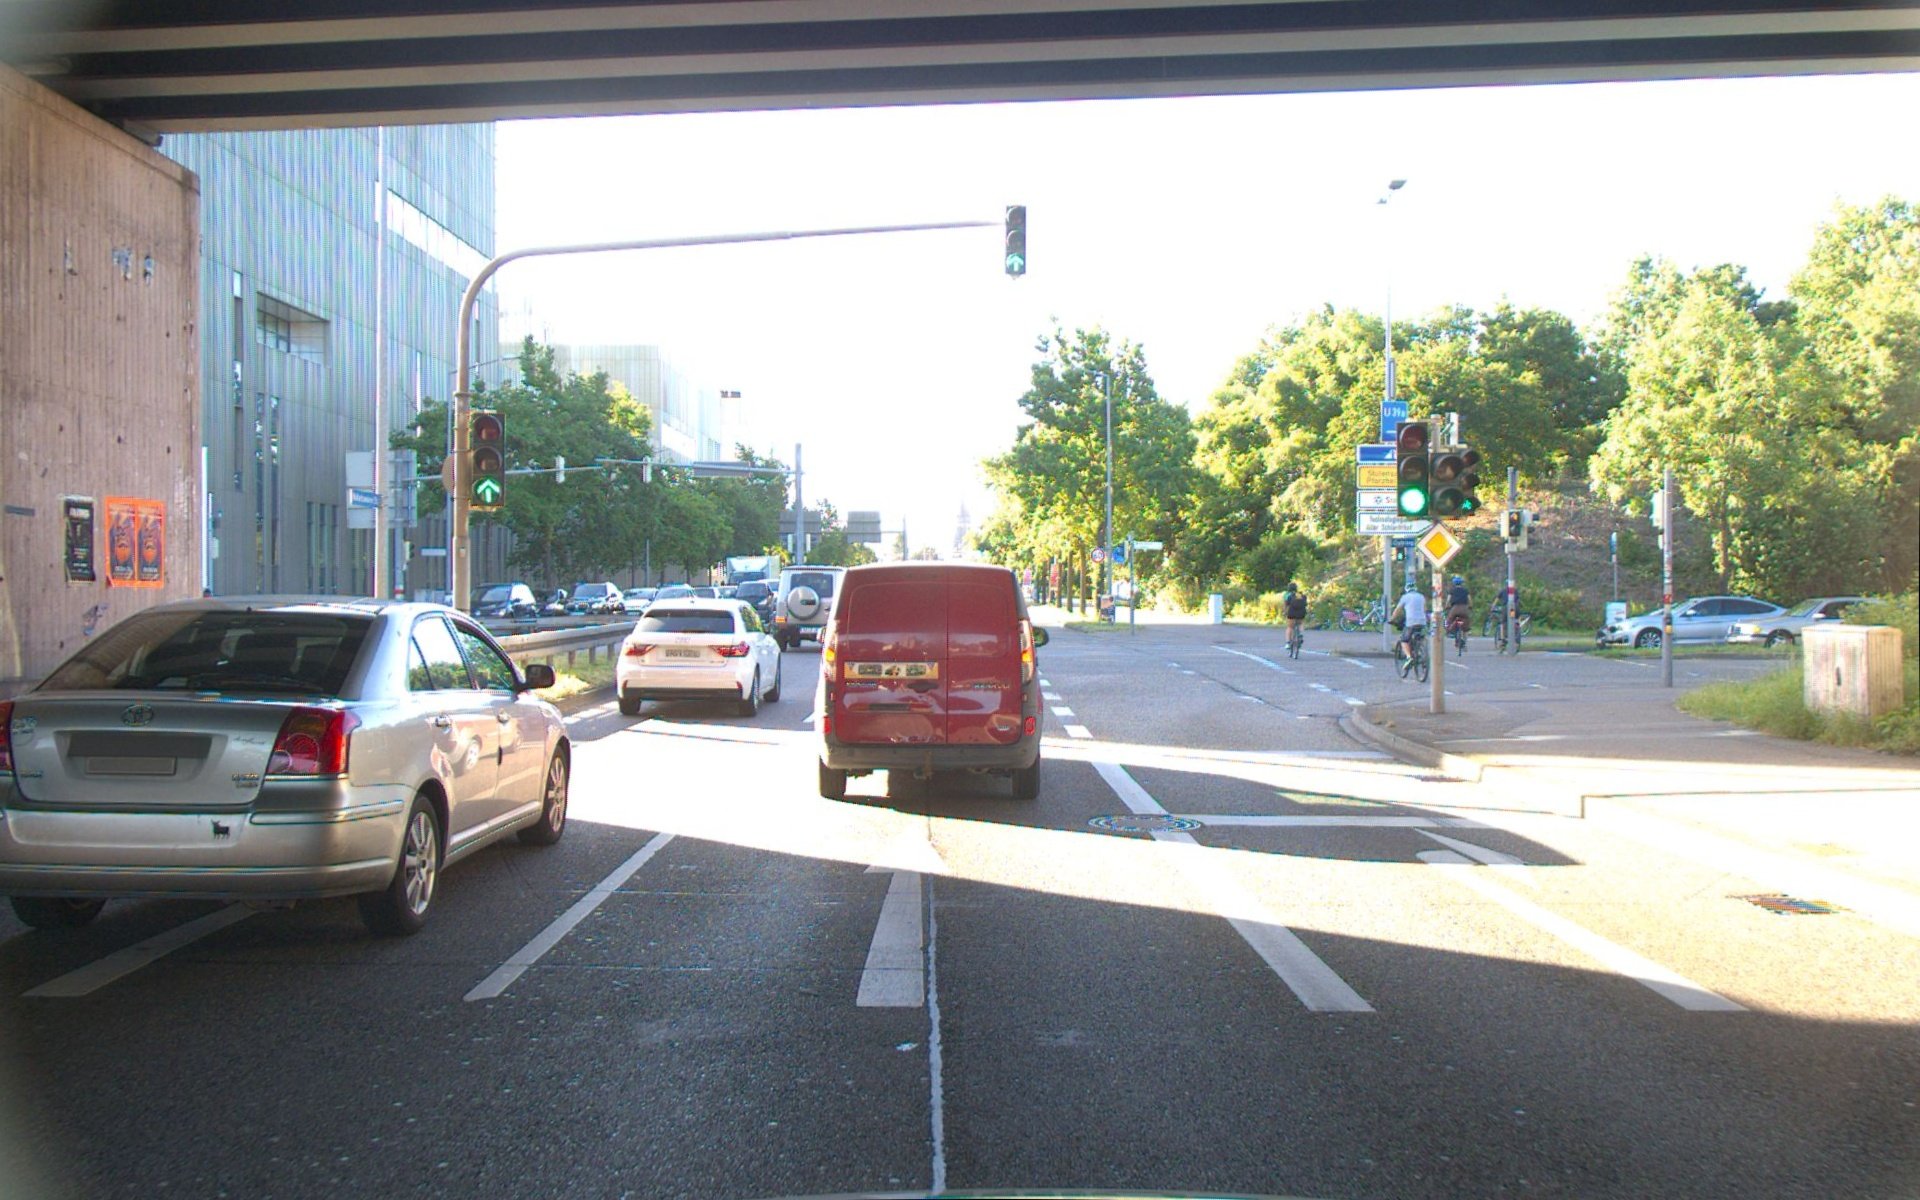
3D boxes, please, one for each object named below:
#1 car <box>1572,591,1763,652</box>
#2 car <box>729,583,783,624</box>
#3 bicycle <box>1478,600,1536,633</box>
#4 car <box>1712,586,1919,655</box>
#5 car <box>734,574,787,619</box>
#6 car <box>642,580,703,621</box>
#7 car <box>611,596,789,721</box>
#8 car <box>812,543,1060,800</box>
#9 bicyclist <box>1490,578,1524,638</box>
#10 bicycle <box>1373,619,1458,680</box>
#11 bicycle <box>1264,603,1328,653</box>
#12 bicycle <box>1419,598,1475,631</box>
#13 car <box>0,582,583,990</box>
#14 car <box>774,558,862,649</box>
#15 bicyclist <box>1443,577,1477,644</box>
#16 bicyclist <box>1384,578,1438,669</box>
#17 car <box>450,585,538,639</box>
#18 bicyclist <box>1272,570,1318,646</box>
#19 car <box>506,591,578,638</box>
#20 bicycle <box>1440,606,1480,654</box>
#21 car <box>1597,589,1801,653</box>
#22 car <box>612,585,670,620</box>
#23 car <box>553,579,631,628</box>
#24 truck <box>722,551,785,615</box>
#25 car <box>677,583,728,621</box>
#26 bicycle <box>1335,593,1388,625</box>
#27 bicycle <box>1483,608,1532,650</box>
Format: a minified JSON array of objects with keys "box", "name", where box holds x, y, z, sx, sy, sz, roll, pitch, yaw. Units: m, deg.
[{"box":[19.293,0.590,45.235,4.452,1.540,1.829,1,-1,6],"name":"car"},{"box":[-7.829,0.133,63.697,1.602,1.468,3.718,-2,0,0],"name":"car"},{"box":[17.876,0.532,54.080,1.707,1.041,0.594,1,-1,10],"name":"bicycle"},{"box":[20.474,0.485,39.208,4.452,1.540,1.829,1,-1,6],"name":"car"},{"box":[-8.505,-0.140,70.860,1.721,1.828,4.082,-2,0,0],"name":"car"},{"box":[-10.990,0.015,63.461,1.602,1.468,4.076,-2,0,0],"name":"car"},{"box":[-3.285,0.693,21.559,1.776,1.463,3.730,1,0,-1],"name":"car"},{"box":[-0.213,0.556,13.964,1.768,1.826,3.998,1,-1,-1],"name":"car"},{"box":[13.838,0.188,41.851,0.636,1.507,0.618,0,0,0],"name":"bicyclist"},{"box":[7.974,0.856,29.024,0.582,1.041,1.741,1,-1,-18],"name":"bicycle"},{"box":[7.314,0.611,36.108,0.582,1.041,1.741,1,-1,-18],"name":"bicycle"},{"box":[16.191,0.483,55.024,1.707,1.041,0.594,1,-1,8],"name":"bicycle"},{"box":[-3.147,0.709,8.288,1.698,1.506,4.316,0,-1,-3],"name":"car"},{"box":[-3.343,0.123,39.549,1.764,2.023,4.587,1,-1,-1],"name":"car"},{"box":[11.394,0.236,37.682,0.650,1.500,0.751,1,-1,11],"name":"bicyclist"},{"box":[7.951,0.418,29.151,0.582,1.576,0.765,1,-1,-19],"name":"bicyclist"},{"box":[-16.313,0.407,58.176,1.788,1.768,4.628,-2,0,-1],"name":"car"},{"box":[7.306,0.180,36.112,0.582,1.642,0.937,1,-1,-18],"name":"bicyclist"},{"box":[-16.906,0.553,67.100,1.788,1.768,4.528,-2,0,-1],"name":"car"},{"box":[11.409,0.686,37.756,0.657,1.041,2.057,1,-1,11],"name":"bicycle"},{"box":[18.988,0.535,42.622,4.452,1.540,1.829,1,-1,6],"name":"car"},{"box":[-13.743,0.098,71.405,1.612,1.429,3.978,-2,0,1],"name":"car"},{"box":[-13.532,0.121,61.095,1.787,1.654,4.529,-2,0,0],"name":"car"},{"box":[-10.725,-0.853,86.463,2.360,3.079,6.656,-2,0,0],"name":"truck"},{"box":[-10.747,0.099,69.245,1.603,1.468,4.075,-2,0,-2],"name":"car"},{"box":[13.704,0.316,56.456,1.707,1.041,0.594,1,-1,8],"name":"bicycle"},{"box":[13.829,0.723,41.792,0.653,1.041,1.750,1,-1,0],"name":"bicycle"}]
